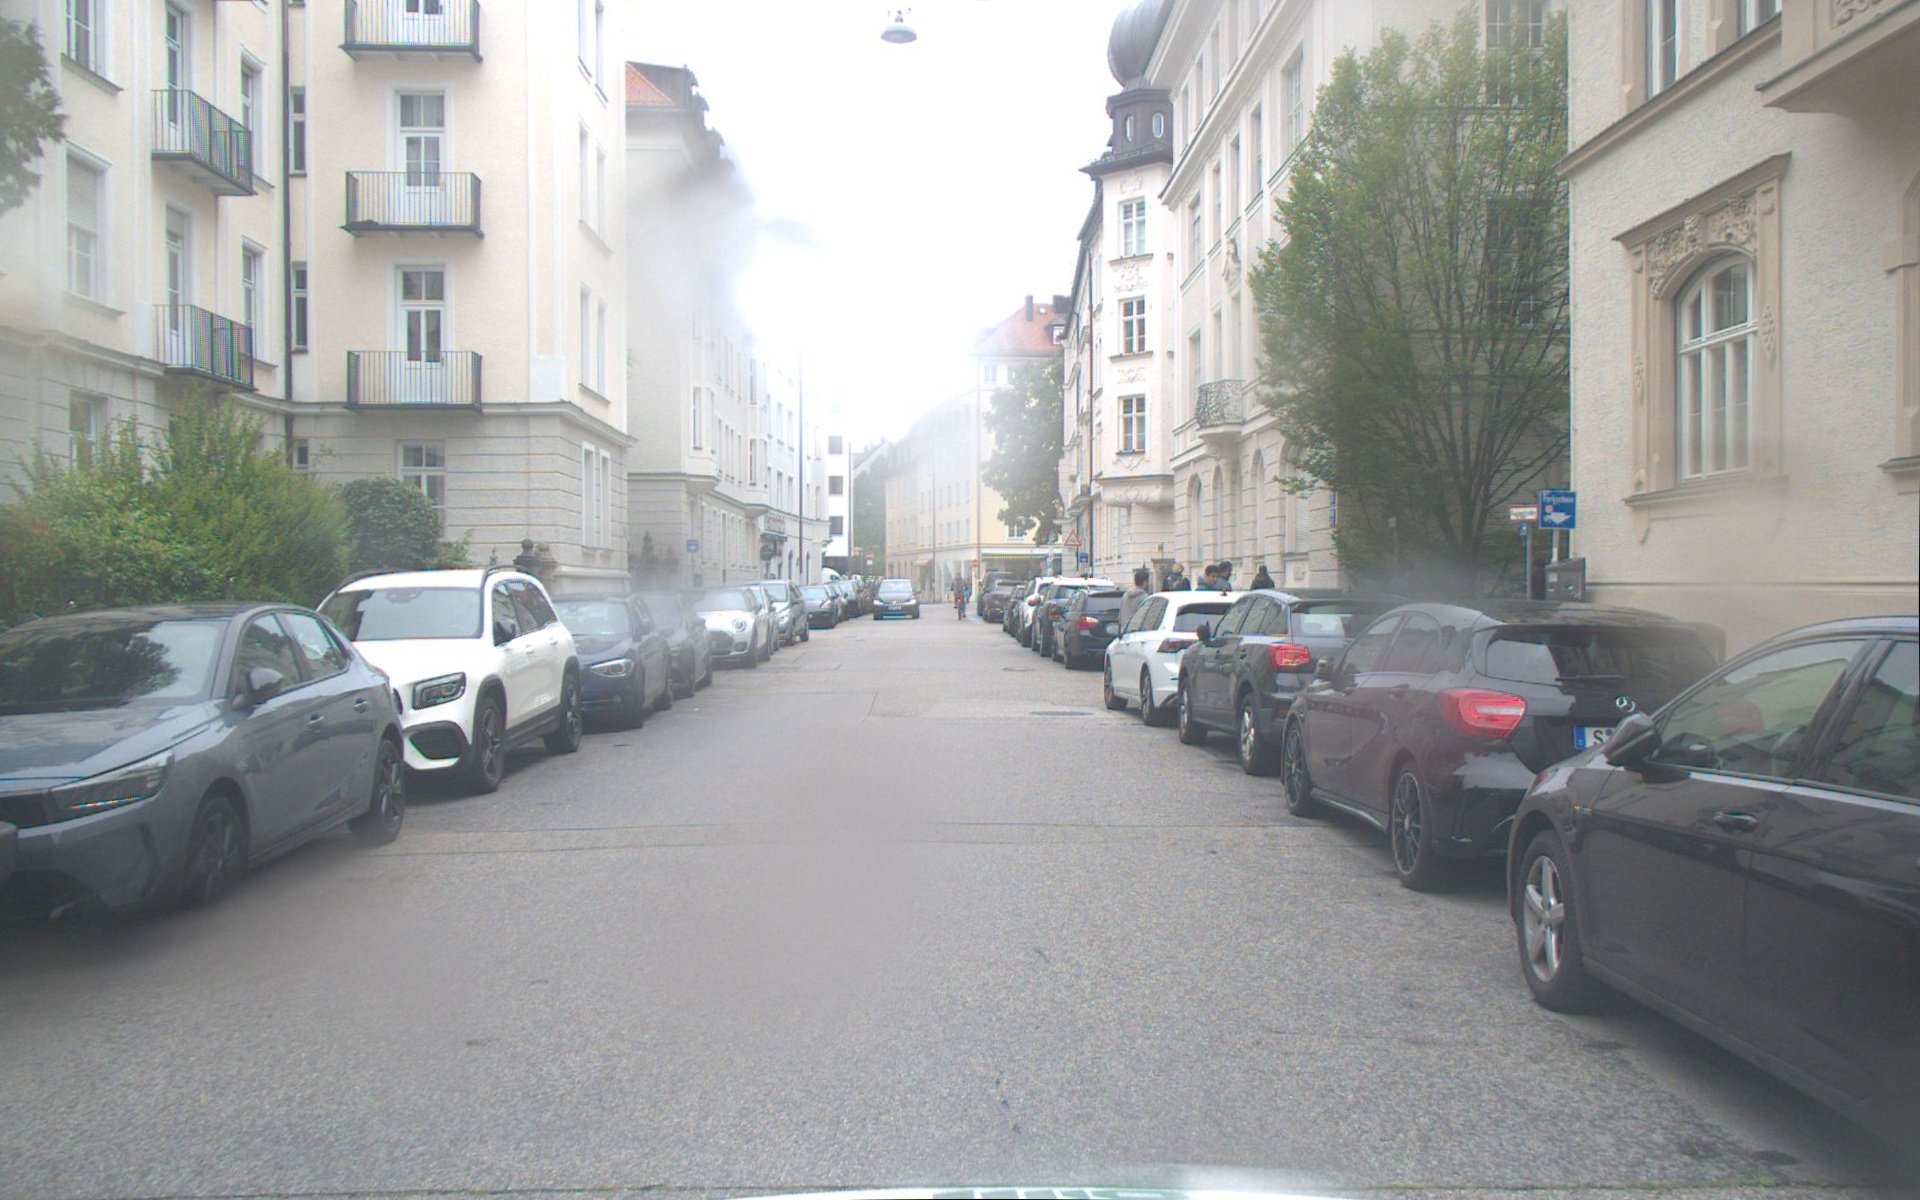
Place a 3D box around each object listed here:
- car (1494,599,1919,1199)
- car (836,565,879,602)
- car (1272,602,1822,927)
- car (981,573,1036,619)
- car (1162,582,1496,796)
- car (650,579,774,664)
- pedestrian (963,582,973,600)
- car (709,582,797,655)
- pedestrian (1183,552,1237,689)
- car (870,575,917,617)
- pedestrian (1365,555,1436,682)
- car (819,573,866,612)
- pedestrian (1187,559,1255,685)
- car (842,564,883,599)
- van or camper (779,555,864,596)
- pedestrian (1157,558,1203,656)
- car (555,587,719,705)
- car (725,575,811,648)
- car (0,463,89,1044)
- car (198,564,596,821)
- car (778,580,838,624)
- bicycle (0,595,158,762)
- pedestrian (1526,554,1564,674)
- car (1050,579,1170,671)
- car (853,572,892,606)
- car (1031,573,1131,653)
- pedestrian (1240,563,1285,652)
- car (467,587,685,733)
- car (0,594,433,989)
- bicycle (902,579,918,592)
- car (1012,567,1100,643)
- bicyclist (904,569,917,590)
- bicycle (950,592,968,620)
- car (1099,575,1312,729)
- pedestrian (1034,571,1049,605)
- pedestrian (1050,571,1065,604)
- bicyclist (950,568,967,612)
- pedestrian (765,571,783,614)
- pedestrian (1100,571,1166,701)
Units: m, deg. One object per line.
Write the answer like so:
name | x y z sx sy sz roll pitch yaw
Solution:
car | 2.925 0.754 4.506 1.608 1.442 4.000 0 1 -1
car | -4.368 -0.733 70.998 1.706 1.512 4.180 -1 1 -2
car | 3.068 0.758 9.582 1.706 1.422 4.022 2 0 -1
car | 1.760 -0.174 61.054 1.673 1.615 3.998 1 1 -3
car | 3.095 0.672 14.779 1.756 1.524 4.079 2 1 -5
car | -4.523 0.354 30.688 1.760 1.460 4.079 0 1 -2
pedestrian | 0.593 -0.681 122.926 0.684 1.292 0.651 -1 1 3
car | -4.526 0.359 36.625 1.612 1.427 3.997 -3 1 -4
pedestrian | 3.335 0.256 22.083 0.615 1.799 0.672 0 1 0
car | -2.615 -0.182 65.854 1.689 1.560 4.085 -3 1 -1
pedestrian | 6.481 0.257 24.352 0.842 1.849 0.678 0 1 -2
car | -4.679 -0.325 65.701 1.775 1.409 4.440 -2 1 -5
pedestrian | 3.791 0.306 24.074 0.864 1.799 0.672 0 1 -2
car | -5.060 -0.976 86.202 1.805 1.788 4.001 -1 1 2
van or camper | -9.737 -1.704 115.920 5.795 2.724 1.869 -1 -1 -9
pedestrian | 4.221 0.121 31.737 0.668 1.806 0.855 -3 1 0
car | -4.447 0.575 23.312 1.701 1.388 4.190 -2 1 -4
car | -4.757 0.249 41.506 1.662 1.608 4.061 -3 1 -1
car | -4.076 0.548 3.592 1.873 1.919 4.815 -2 1 -2
car | -4.296 0.582 13.430 1.770 1.677 4.484 -2 1 -2
car | -5.009 0.035 55.123 1.813 1.390 4.699 0 1 -3
bicycle | -7.948 0.630 14.399 0.682 1.282 2.530 -2 1 0
pedestrian | 9.047 0.214 25.585 0.541 1.825 0.574 0 1 19
car | 2.629 0.389 29.836 1.676 1.477 4.224 0 2 -1
car | -4.801 -0.612 91.368 1.839 1.815 4.001 -1 1 2
car | 2.450 0.219 34.312 1.713 1.551 4.170 0 1 -1
pedestrian | 6.010 0.135 32.910 0.668 1.708 0.812 -3 1 -2
car | -4.174 0.583 18.557 1.733 1.445 3.997 0 1 -4
car | -4.072 0.771 8.363 1.610 1.455 3.918 -3 1 -2
bicycle | -3.943 -1.182 130.766 0.833 1.018 2.161 0 1 -15
car | 2.270 0.061 40.007 1.857 1.664 4.392 -1 2 0
bicyclist | -3.912 -1.601 130.632 0.768 1.666 0.972 0 1 -15
bicycle | -0.034 0.213 63.252 0.626 1.022 1.575 -1 1 3
car | 2.714 0.503 19.146 1.630 1.534 4.062 0 2 -3
pedestrian | 4.260 -0.640 86.648 0.689 1.758 0.703 -2 1 -4
pedestrian | 5.122 -0.653 87.029 0.666 1.703 0.654 -3 1 -4
bicyclist | -0.040 -0.382 63.286 0.593 1.634 0.758 -1 1 3
pedestrian | -7.524 -0.307 66.894 0.684 1.736 0.665 0 1 -4
pedestrian | 2.297 0.460 21.886 0.832 1.686 0.867 0 0 8
